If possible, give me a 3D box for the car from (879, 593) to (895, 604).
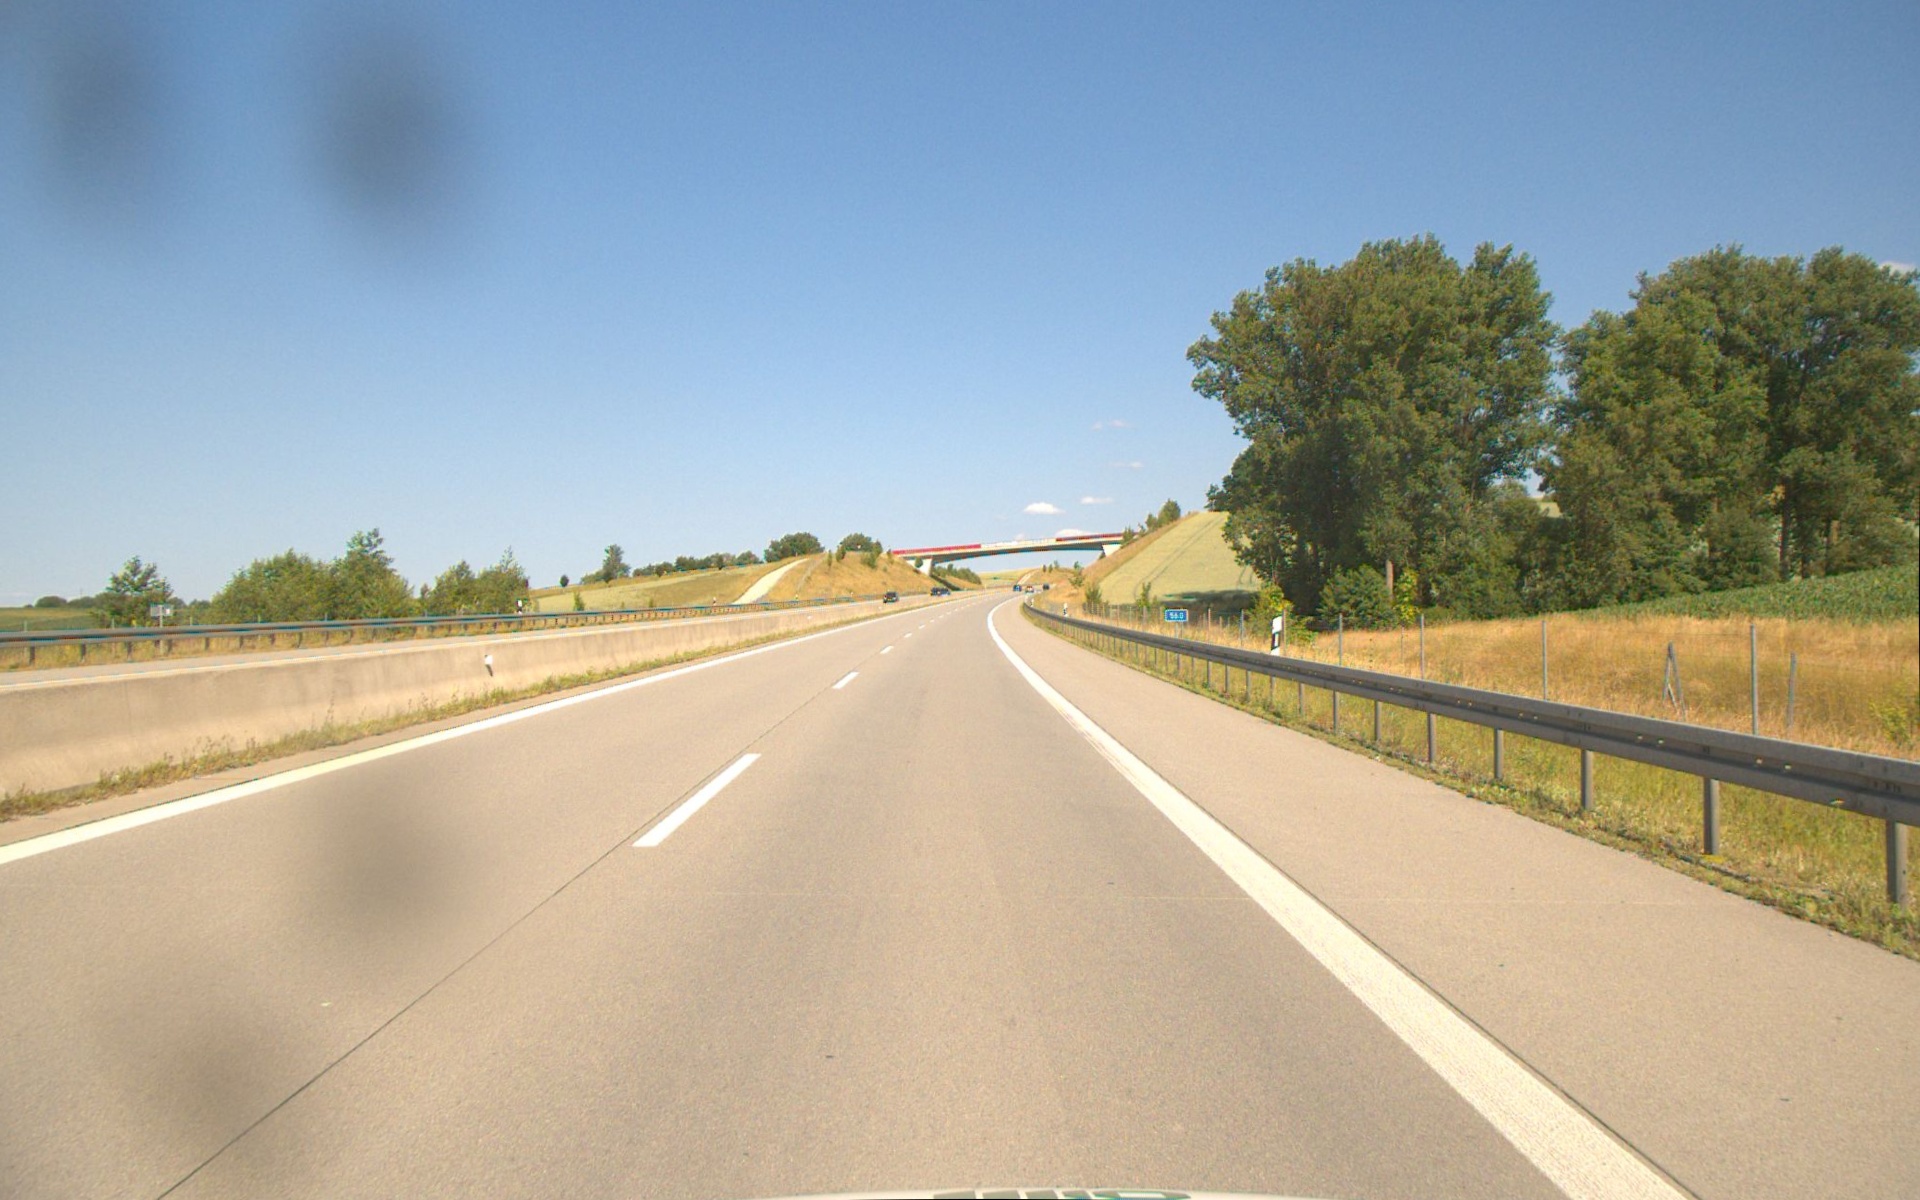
[{"bbox_3d":[-9.696,-0.211,219.250,1.775,1.482,4.512,1,0,1],"label":"car"}]
